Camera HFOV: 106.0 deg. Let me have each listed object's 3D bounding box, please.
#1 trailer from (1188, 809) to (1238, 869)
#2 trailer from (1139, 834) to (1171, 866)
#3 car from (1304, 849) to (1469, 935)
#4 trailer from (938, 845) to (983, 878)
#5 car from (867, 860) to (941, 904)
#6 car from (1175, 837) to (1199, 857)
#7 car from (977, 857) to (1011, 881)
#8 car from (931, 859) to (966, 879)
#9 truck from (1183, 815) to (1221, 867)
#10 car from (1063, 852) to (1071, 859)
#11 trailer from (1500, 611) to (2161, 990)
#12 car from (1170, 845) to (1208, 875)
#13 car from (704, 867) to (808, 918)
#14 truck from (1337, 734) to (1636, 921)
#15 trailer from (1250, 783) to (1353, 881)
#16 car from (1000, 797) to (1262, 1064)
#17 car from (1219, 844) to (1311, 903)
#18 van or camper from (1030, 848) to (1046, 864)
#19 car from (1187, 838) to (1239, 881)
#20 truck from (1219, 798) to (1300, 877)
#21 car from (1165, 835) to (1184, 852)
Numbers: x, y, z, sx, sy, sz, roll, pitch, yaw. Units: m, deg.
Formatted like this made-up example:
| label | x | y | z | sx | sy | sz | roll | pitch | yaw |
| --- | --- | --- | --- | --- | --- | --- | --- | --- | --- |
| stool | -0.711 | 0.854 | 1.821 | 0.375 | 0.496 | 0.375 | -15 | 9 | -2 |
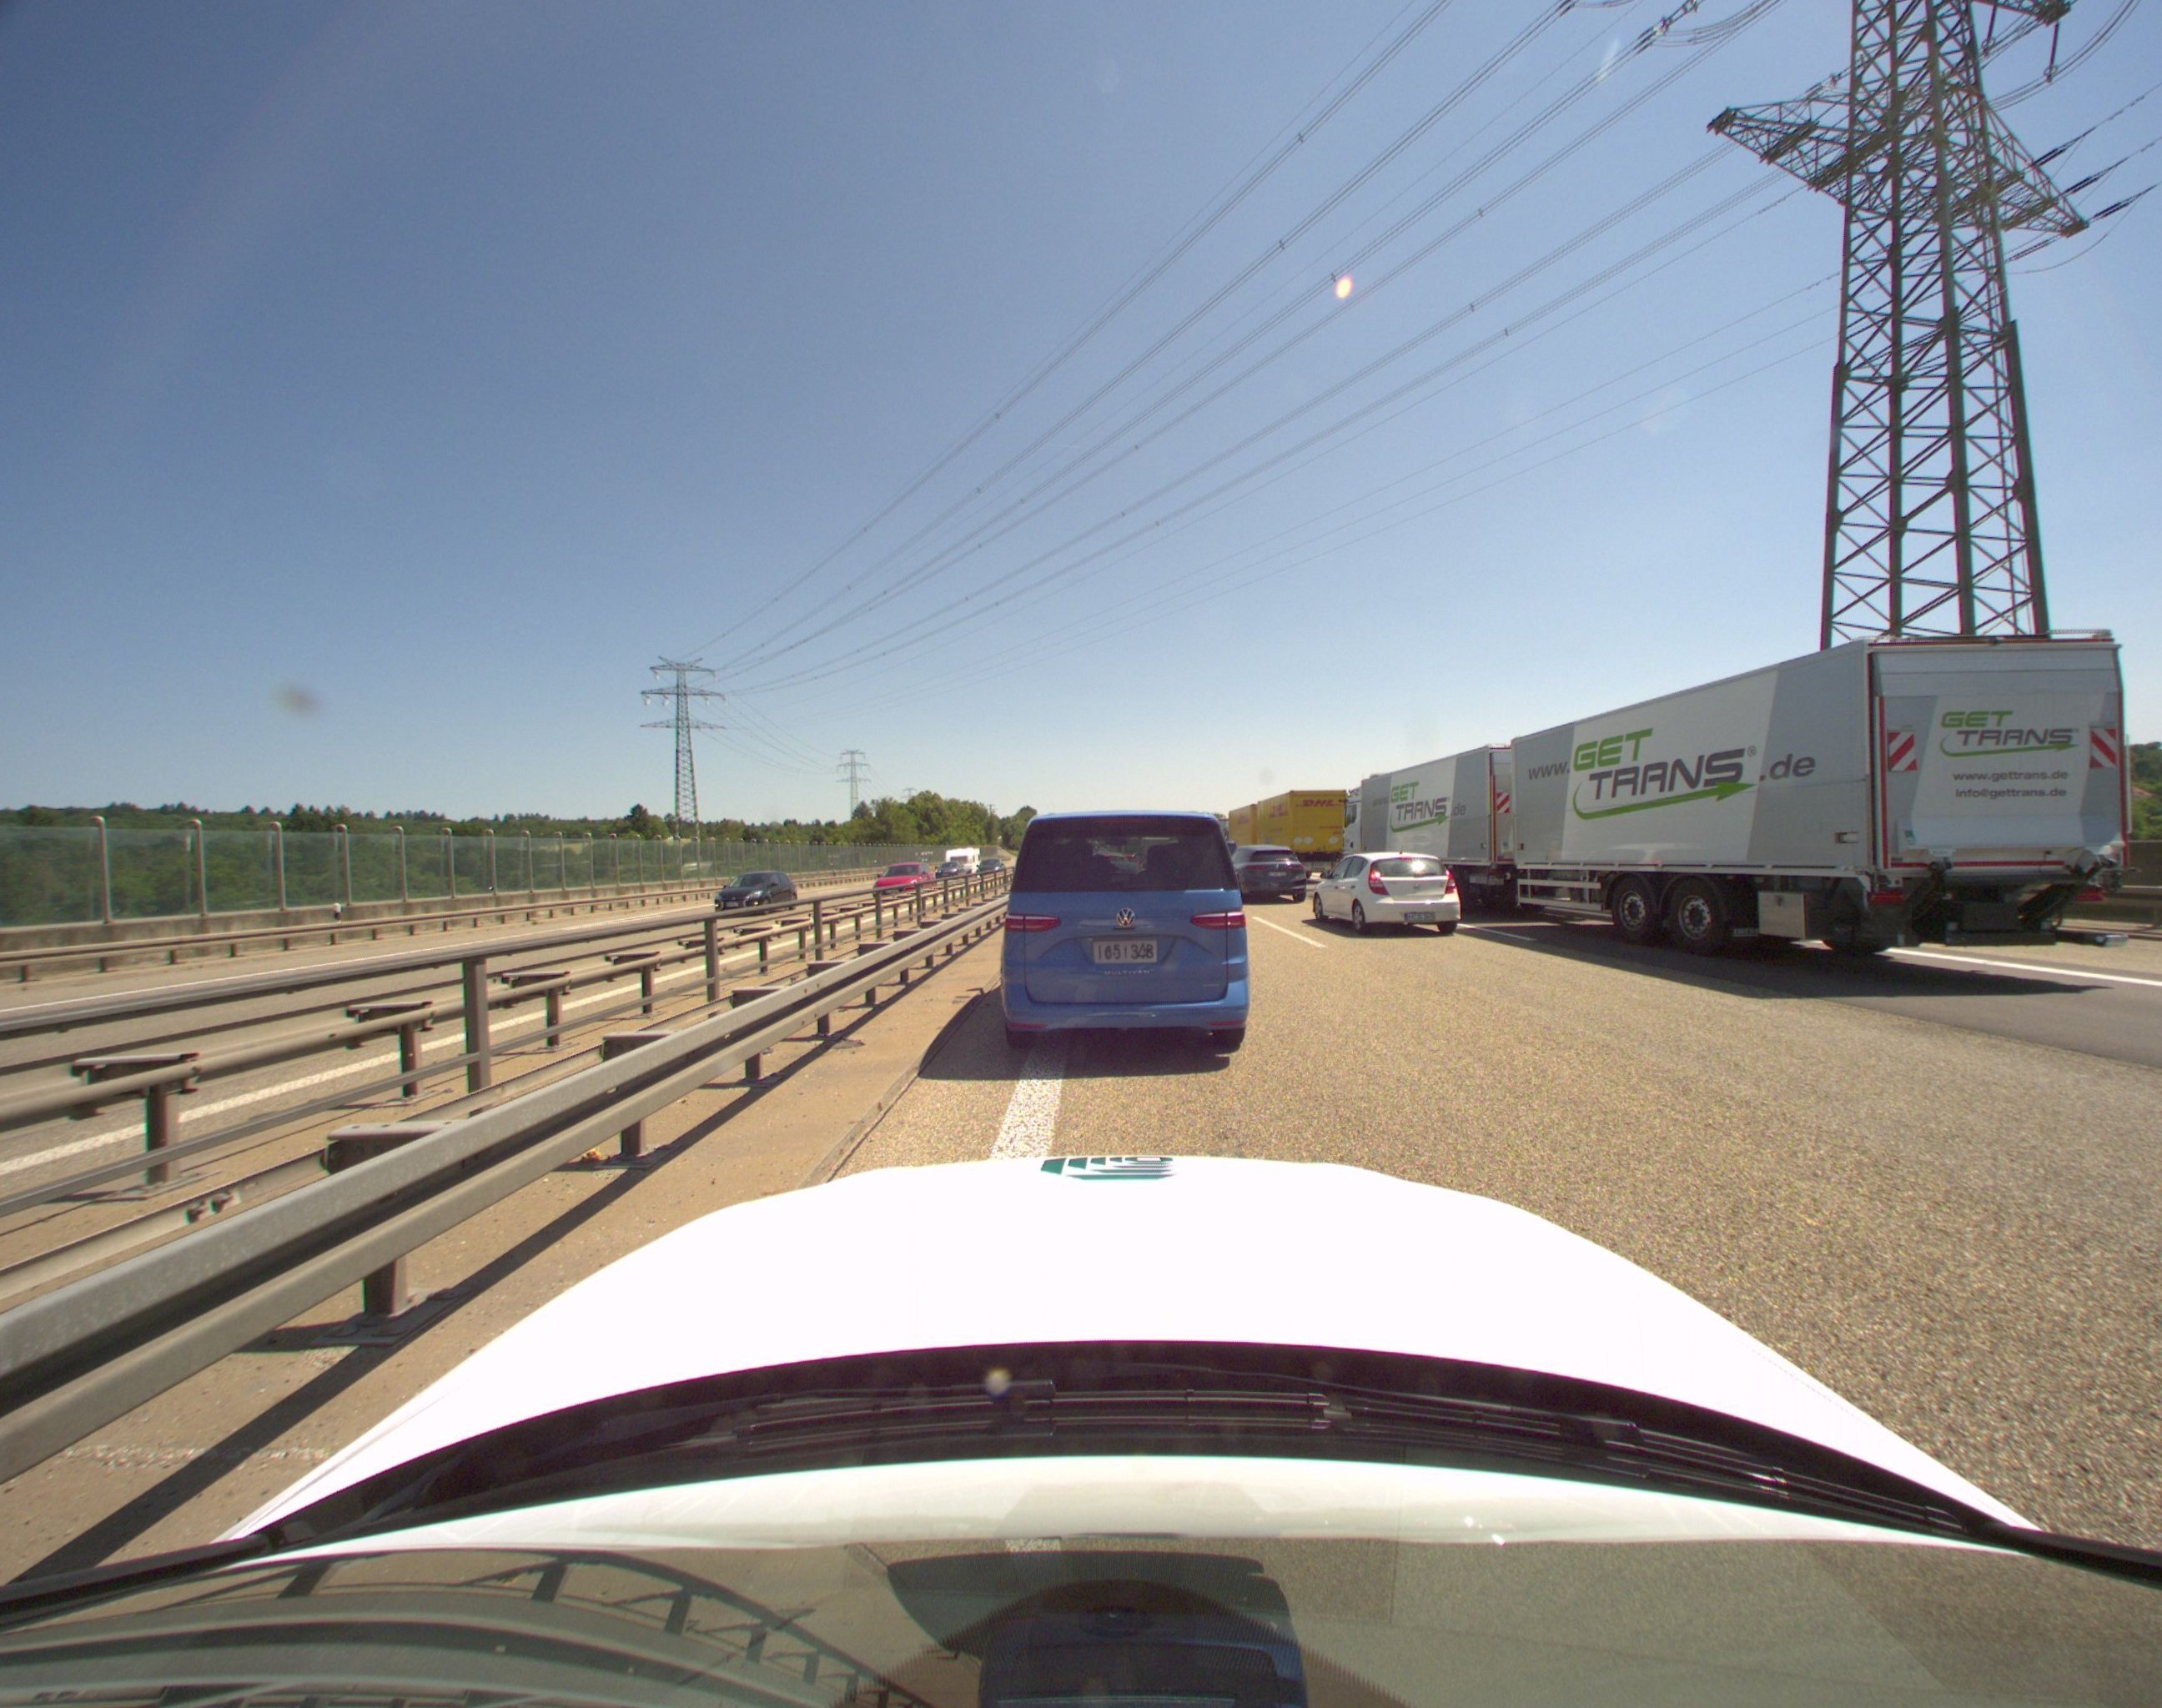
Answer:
| label | x | y | z | sx | sy | sz | roll | pitch | yaw |
| --- | --- | --- | --- | --- | --- | --- | --- | --- | --- |
| trailer | 10.741 | -1.156 | 67.365 | 2.627 | 4.516 | 11.305 | 0 | 0 | 2 |
| trailer | 7.283 | -0.357 | 81.378 | 2.559 | 2.990 | 10.668 | 0 | 0 | 2 |
| car | 5.867 | 0.656 | 16.227 | 1.782 | 1.455 | 4.295 | -1 | 0 | 2 |
| trailer | -10.322 | 0.607 | 70.455 | 2.484 | 2.549 | 6.777 | -3 | 0 | 2 |
| car | -6.904 | 1.059 | 32.216 | 1.784 | 1.478 | 3.991 | -5 | -1 | 2 |
| car | 10.921 | -0.732 | 84.124 | 1.986 | 2.014 | 4.002 | 0 | 0 | 2 |
| car | -5.997 | 1.004 | 56.469 | 1.662 | 1.448 | 4.003 | -5 | 0 | 3 |
| car | -10.500 | 1.192 | 64.711 | 1.769 | 1.407 | 4.684 | -4 | 0 | 2 |
| truck | 11.026 | -1.140 | 74.570 | 2.657 | 4.484 | 6.852 | 0 | 0 | 2 |
| car | -3.768 | 0.400 | 213.782 | 1.861 | 1.699 | 4.431 | -4 | 0 | 1 |
| trailer | 9.572 | -0.538 | 12.088 | 2.688 | 3.700 | 8.017 | -1 | 0 | 1 |
| car | 6.886 | 0.376 | 52.081 | 1.986 | 1.816 | 4.002 | -1 | 0 | 2 |
| car | -11.387 | 1.284 | 28.883 | 1.723 | 1.491 | 4.421 | -3 | 0 | 1 |
| truck | 9.753 | -0.538 | 21.633 | 2.647 | 3.648 | 11.013 | -1 | 0 | 1 |
| trailer | 10.474 | -0.923 | 39.787 | 2.854 | 4.239 | 9.015 | 0 | 0 | 2 |
| car | 0.416 | 0.542 | 7.736 | 1.813 | 1.857 | 4.076 | 0 | 0 | 2 |
| car | 5.562 | 0.553 | 25.193 | 1.955 | 1.644 | 4.295 | -1 | 0 | 2 |
| van or camper | -8.748 | 0.408 | 165.278 | 2.413 | 3.024 | 7.030 | -3 | 0 | 2 |
| car | 6.396 | 0.255 | 39.976 | 1.955 | 1.993 | 4.295 | -1 | 0 | 2 |
| truck | 10.645 | -0.888 | 49.854 | 2.826 | 4.243 | 11.013 | 0 | 0 | 1 |
| car | 11.590 | -1.265 | 101.144 | 1.986 | 2.013 | 4.463 | -2 | 0 | 2 |
